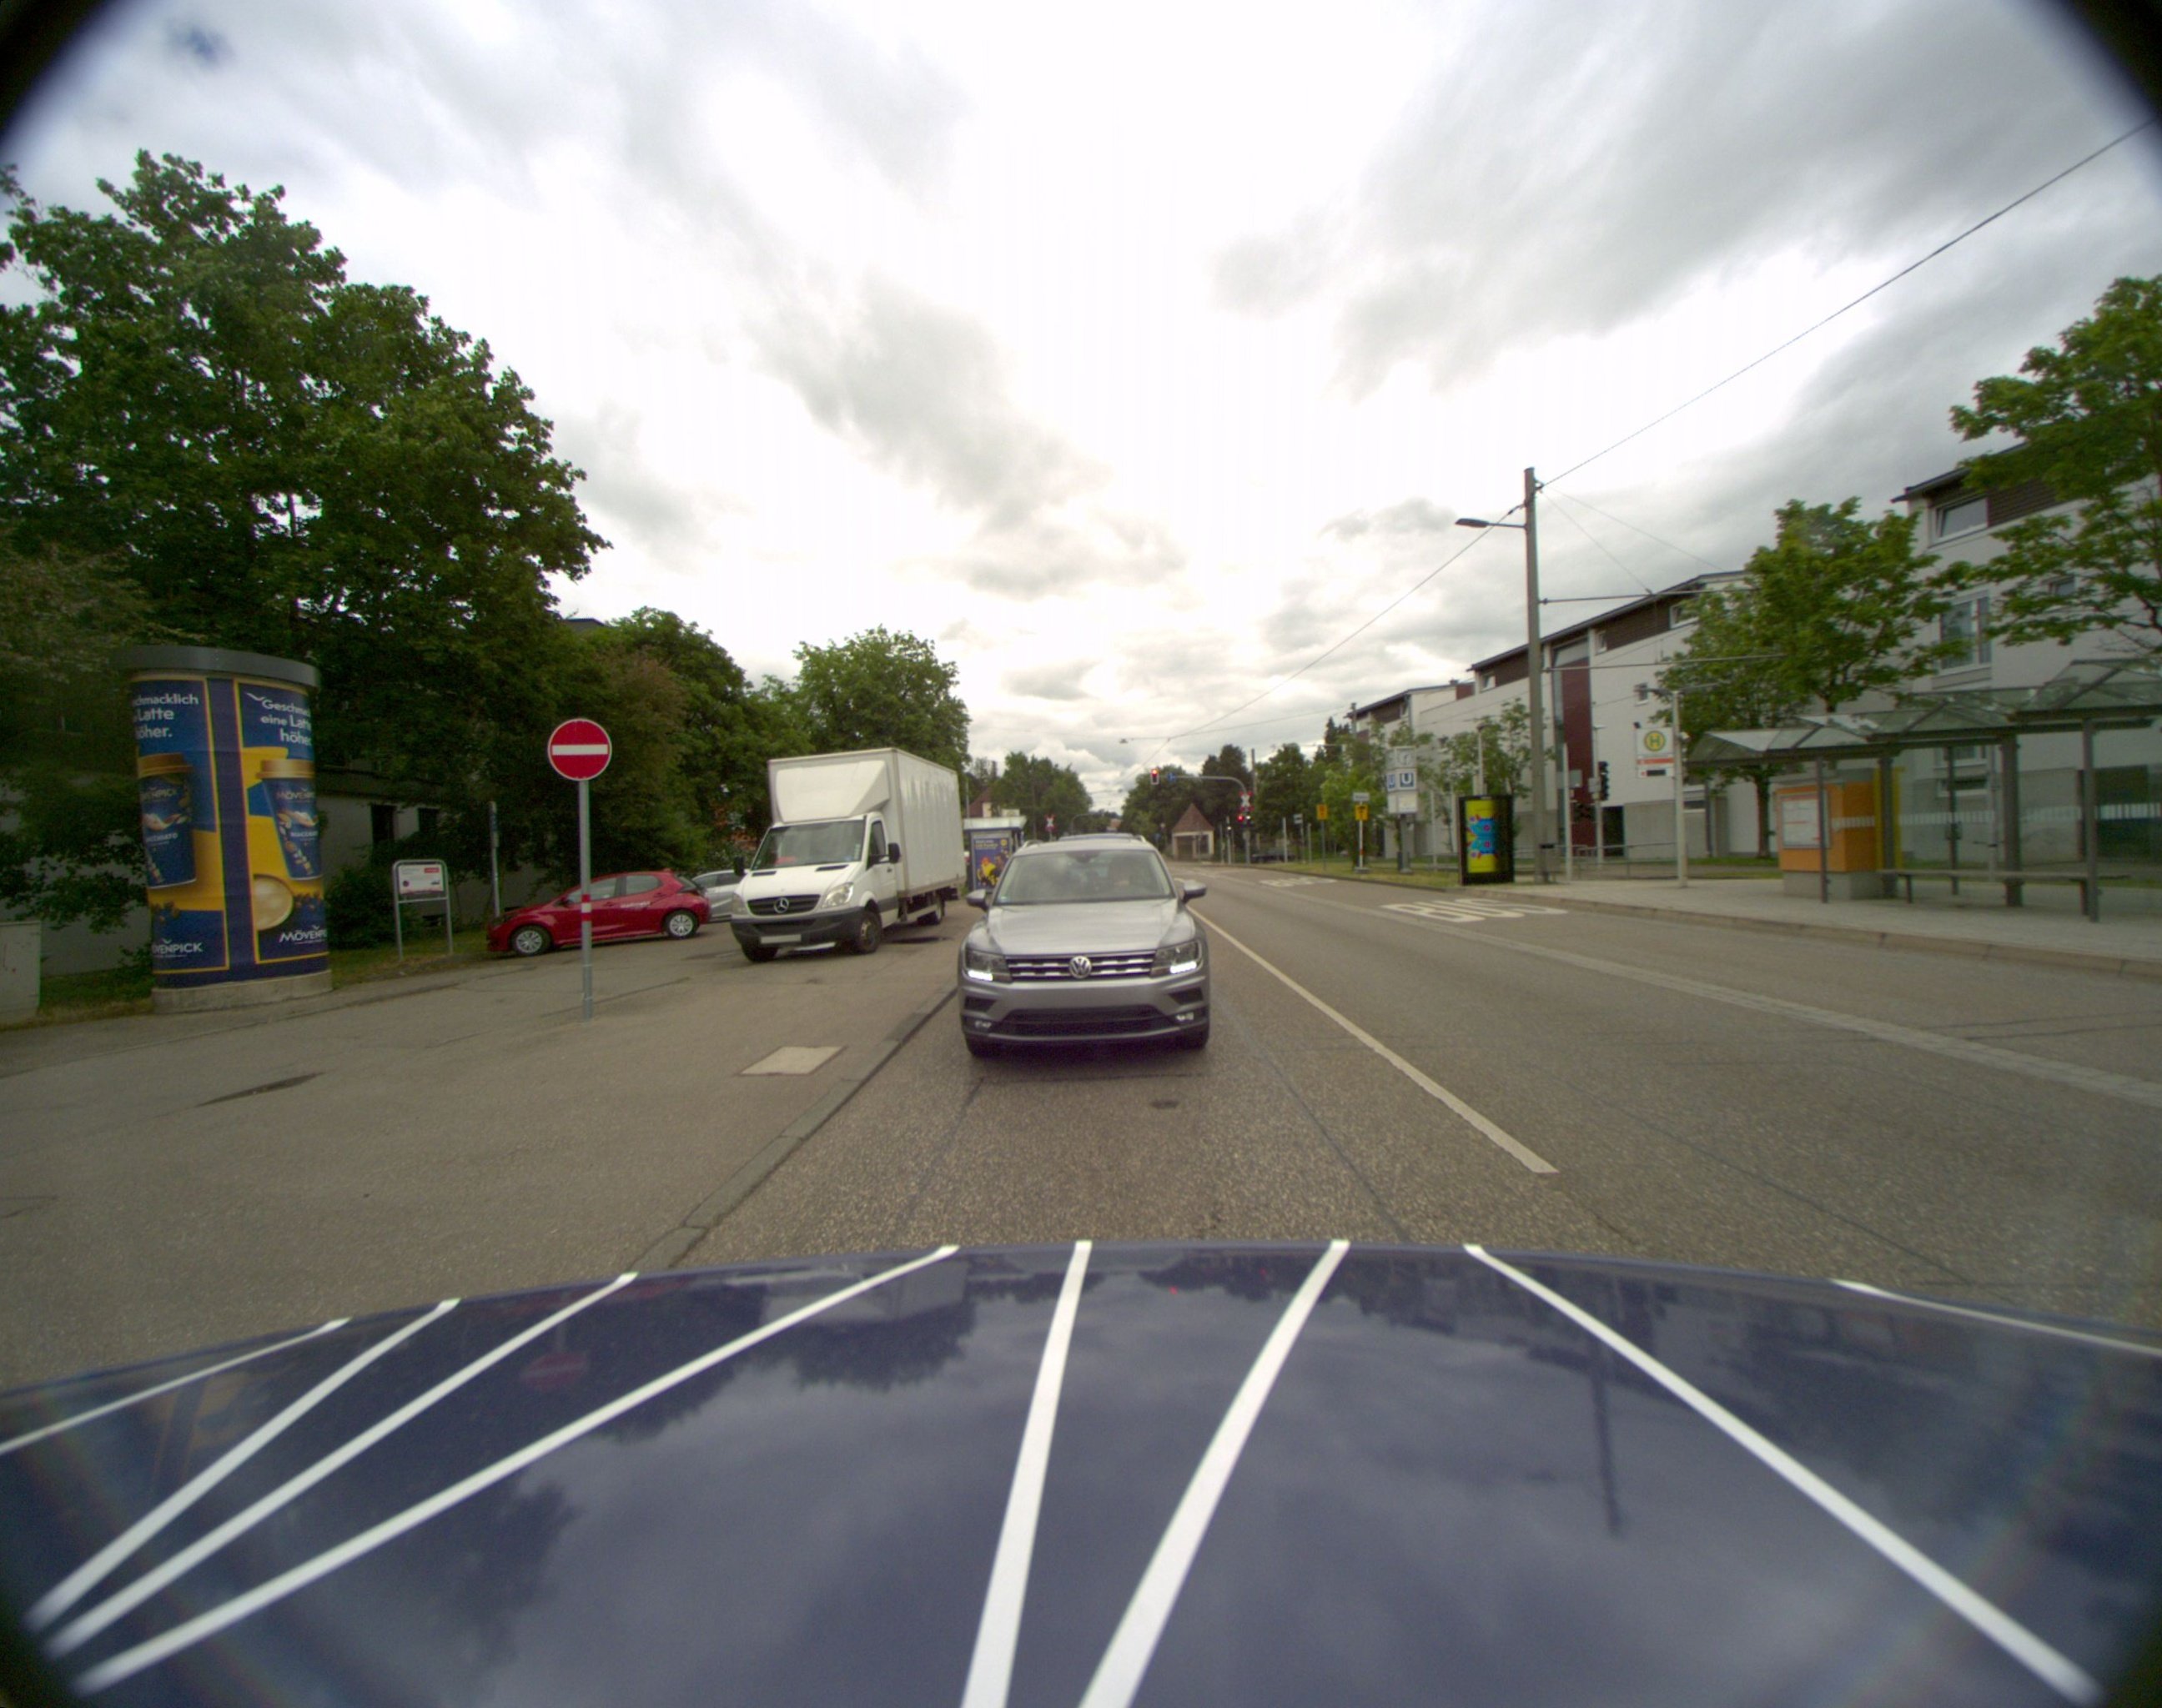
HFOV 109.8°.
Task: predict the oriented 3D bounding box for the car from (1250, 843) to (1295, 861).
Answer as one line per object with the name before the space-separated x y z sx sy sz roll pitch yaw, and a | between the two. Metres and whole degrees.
car | 19.409 -0.206 77.277 3.997 1.696 1.928 -3 1 -1

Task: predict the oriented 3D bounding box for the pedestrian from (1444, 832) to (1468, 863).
pedestrian | 19.916 -0.335 40.337 0.782 1.586 0.780 -3 1 -7

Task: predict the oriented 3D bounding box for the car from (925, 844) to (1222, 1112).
car | 0.028 0.766 6.998 1.811 1.638 4.330 -3 1 2

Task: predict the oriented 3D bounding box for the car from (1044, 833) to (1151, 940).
car | 0.364 0.566 15.741 1.849 1.850 4.000 -3 1 2

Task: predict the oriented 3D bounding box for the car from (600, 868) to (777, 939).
car | -10.489 1.263 20.476 4.005 1.402 1.521 -5 2 -30

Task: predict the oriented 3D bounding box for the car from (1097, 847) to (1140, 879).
car | 1.927 0.449 40.330 1.850 1.526 3.999 -2 1 -2

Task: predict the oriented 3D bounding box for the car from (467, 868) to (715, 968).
car | -9.719 1.202 15.460 3.901 1.475 1.680 -5 2 -23

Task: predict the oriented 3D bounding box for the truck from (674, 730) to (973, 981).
truck | -4.175 -0.051 14.546 2.541 3.407 7.775 -3 1 3
